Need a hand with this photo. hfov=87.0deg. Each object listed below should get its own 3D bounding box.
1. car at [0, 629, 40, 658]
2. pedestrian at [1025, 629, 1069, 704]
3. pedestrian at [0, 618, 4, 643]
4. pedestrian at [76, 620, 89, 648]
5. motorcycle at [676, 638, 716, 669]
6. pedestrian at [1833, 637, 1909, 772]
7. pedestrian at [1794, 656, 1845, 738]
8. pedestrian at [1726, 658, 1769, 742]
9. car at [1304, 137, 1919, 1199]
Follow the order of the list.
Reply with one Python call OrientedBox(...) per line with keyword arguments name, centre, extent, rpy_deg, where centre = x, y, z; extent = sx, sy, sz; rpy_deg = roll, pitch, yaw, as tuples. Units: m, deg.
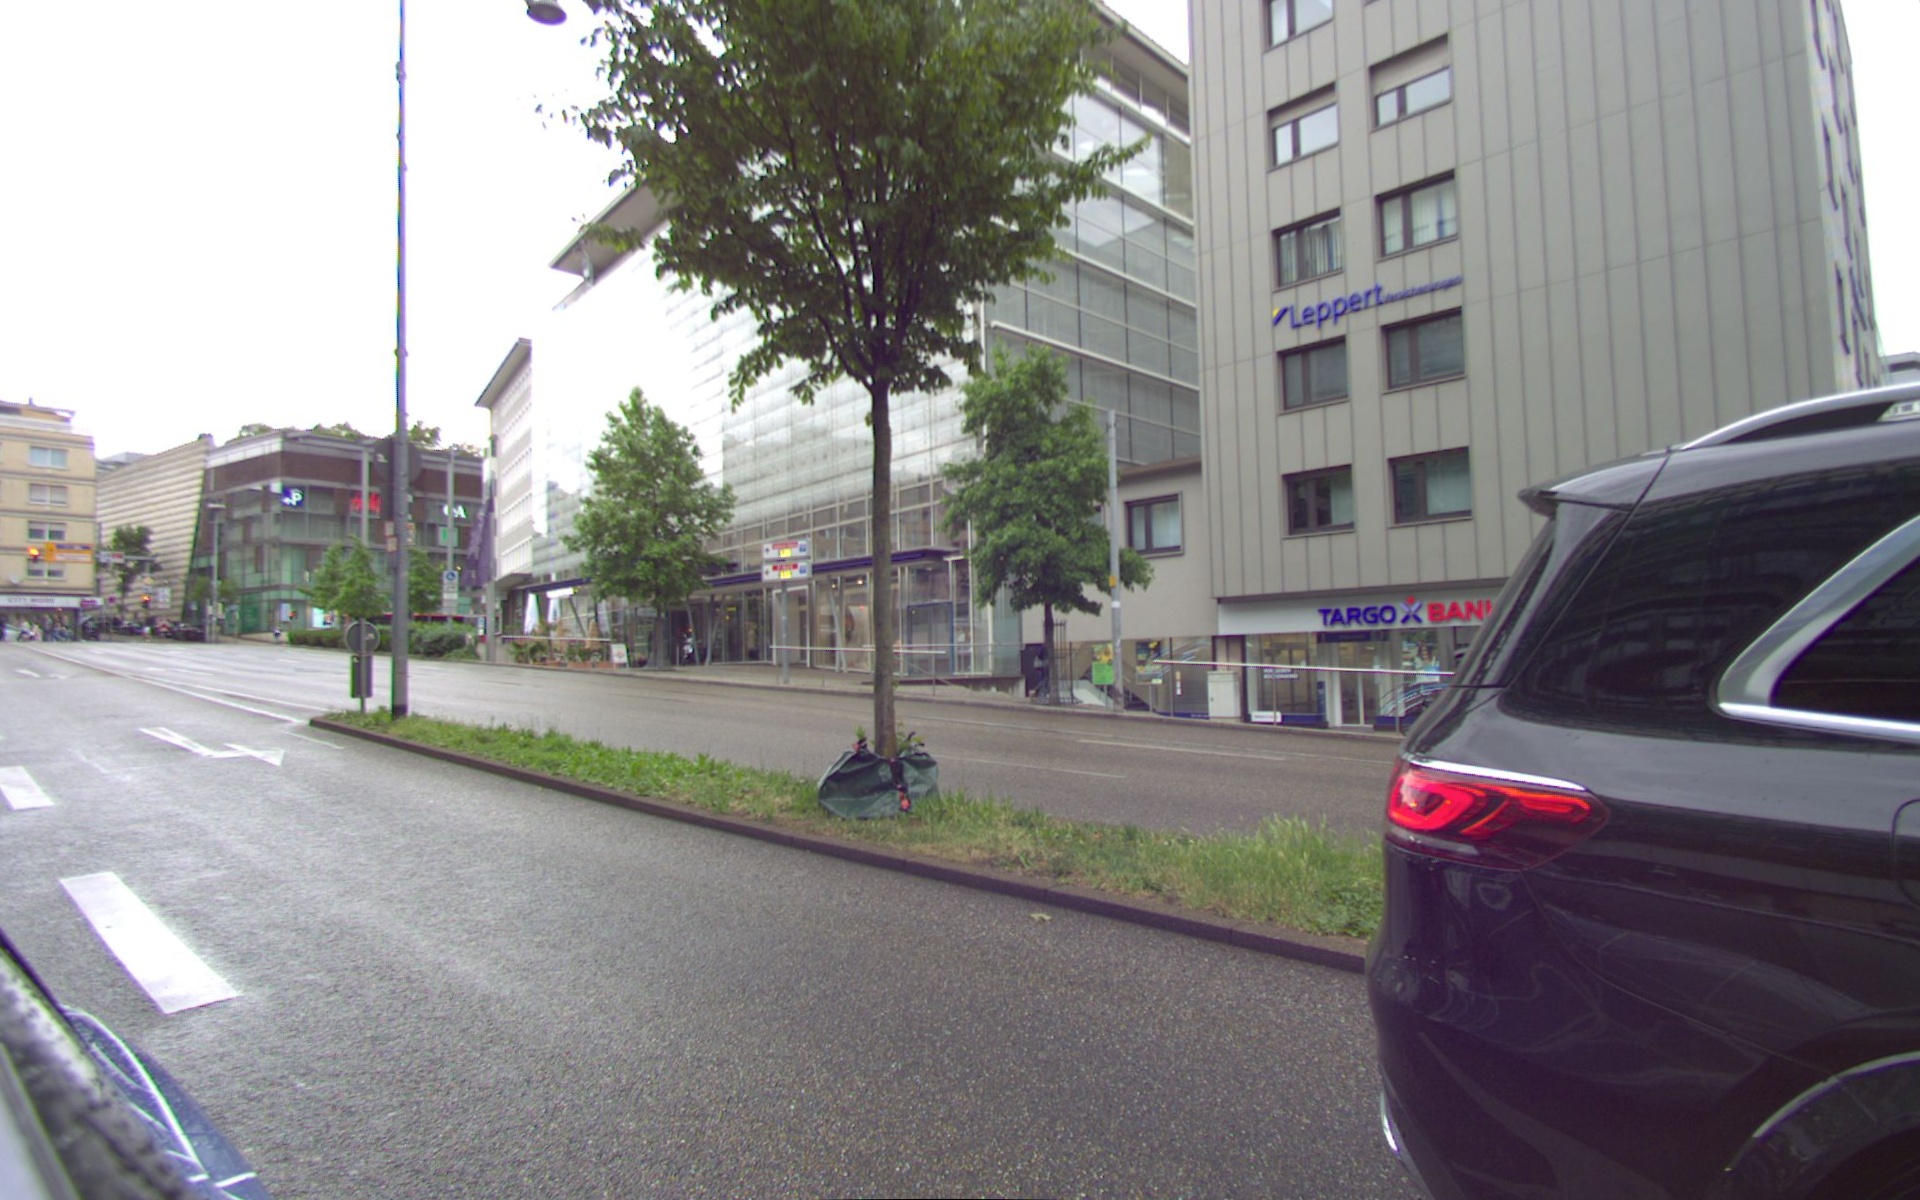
OrientedBox(name="car", centre=(-67.640, 3.015, 70.714), extent=(1.980, 2.029, 4.568), rpy_deg=(0, -2, 13))
OrientedBox(name="pedestrian", centre=(1.977, 1.492, 23.090), extent=(0.626, 1.649, 0.791), rpy_deg=(0, 0, -41))
OrientedBox(name="pedestrian", centre=(-61.185, 1.938, 64.397), extent=(0.602, 1.642, 0.422), rpy_deg=(-1, -3, 44))
OrientedBox(name="pedestrian", centre=(-58.354, 2.265, 67.320), extent=(0.618, 1.788, 0.689), rpy_deg=(0, 0, -45))
OrientedBox(name="motorcycle", centre=(-11.994, 2.433, 46.079), extent=(0.620, 1.336, 1.685), rpy_deg=(-1, -3, 41))
OrientedBox(name="pedestrian", centre=(12.113, 1.360, 13.471), extent=(0.725, 1.694, 0.584), rpy_deg=(0, 0, 41))
OrientedBox(name="pedestrian", centre=(18.675, 2.096, 22.000), extent=(0.724, 1.710, 0.781), rpy_deg=(0, -3, 34))
OrientedBox(name="pedestrian", centre=(16.410, 2.073, 21.094), extent=(0.634, 1.649, 0.781), rpy_deg=(0, 0, 34))
OrientedBox(name="car", centre=(3.113, 0.383, 0.789), extent=(5.069, 1.884, 1.892), rpy_deg=(0, 0, 40))
